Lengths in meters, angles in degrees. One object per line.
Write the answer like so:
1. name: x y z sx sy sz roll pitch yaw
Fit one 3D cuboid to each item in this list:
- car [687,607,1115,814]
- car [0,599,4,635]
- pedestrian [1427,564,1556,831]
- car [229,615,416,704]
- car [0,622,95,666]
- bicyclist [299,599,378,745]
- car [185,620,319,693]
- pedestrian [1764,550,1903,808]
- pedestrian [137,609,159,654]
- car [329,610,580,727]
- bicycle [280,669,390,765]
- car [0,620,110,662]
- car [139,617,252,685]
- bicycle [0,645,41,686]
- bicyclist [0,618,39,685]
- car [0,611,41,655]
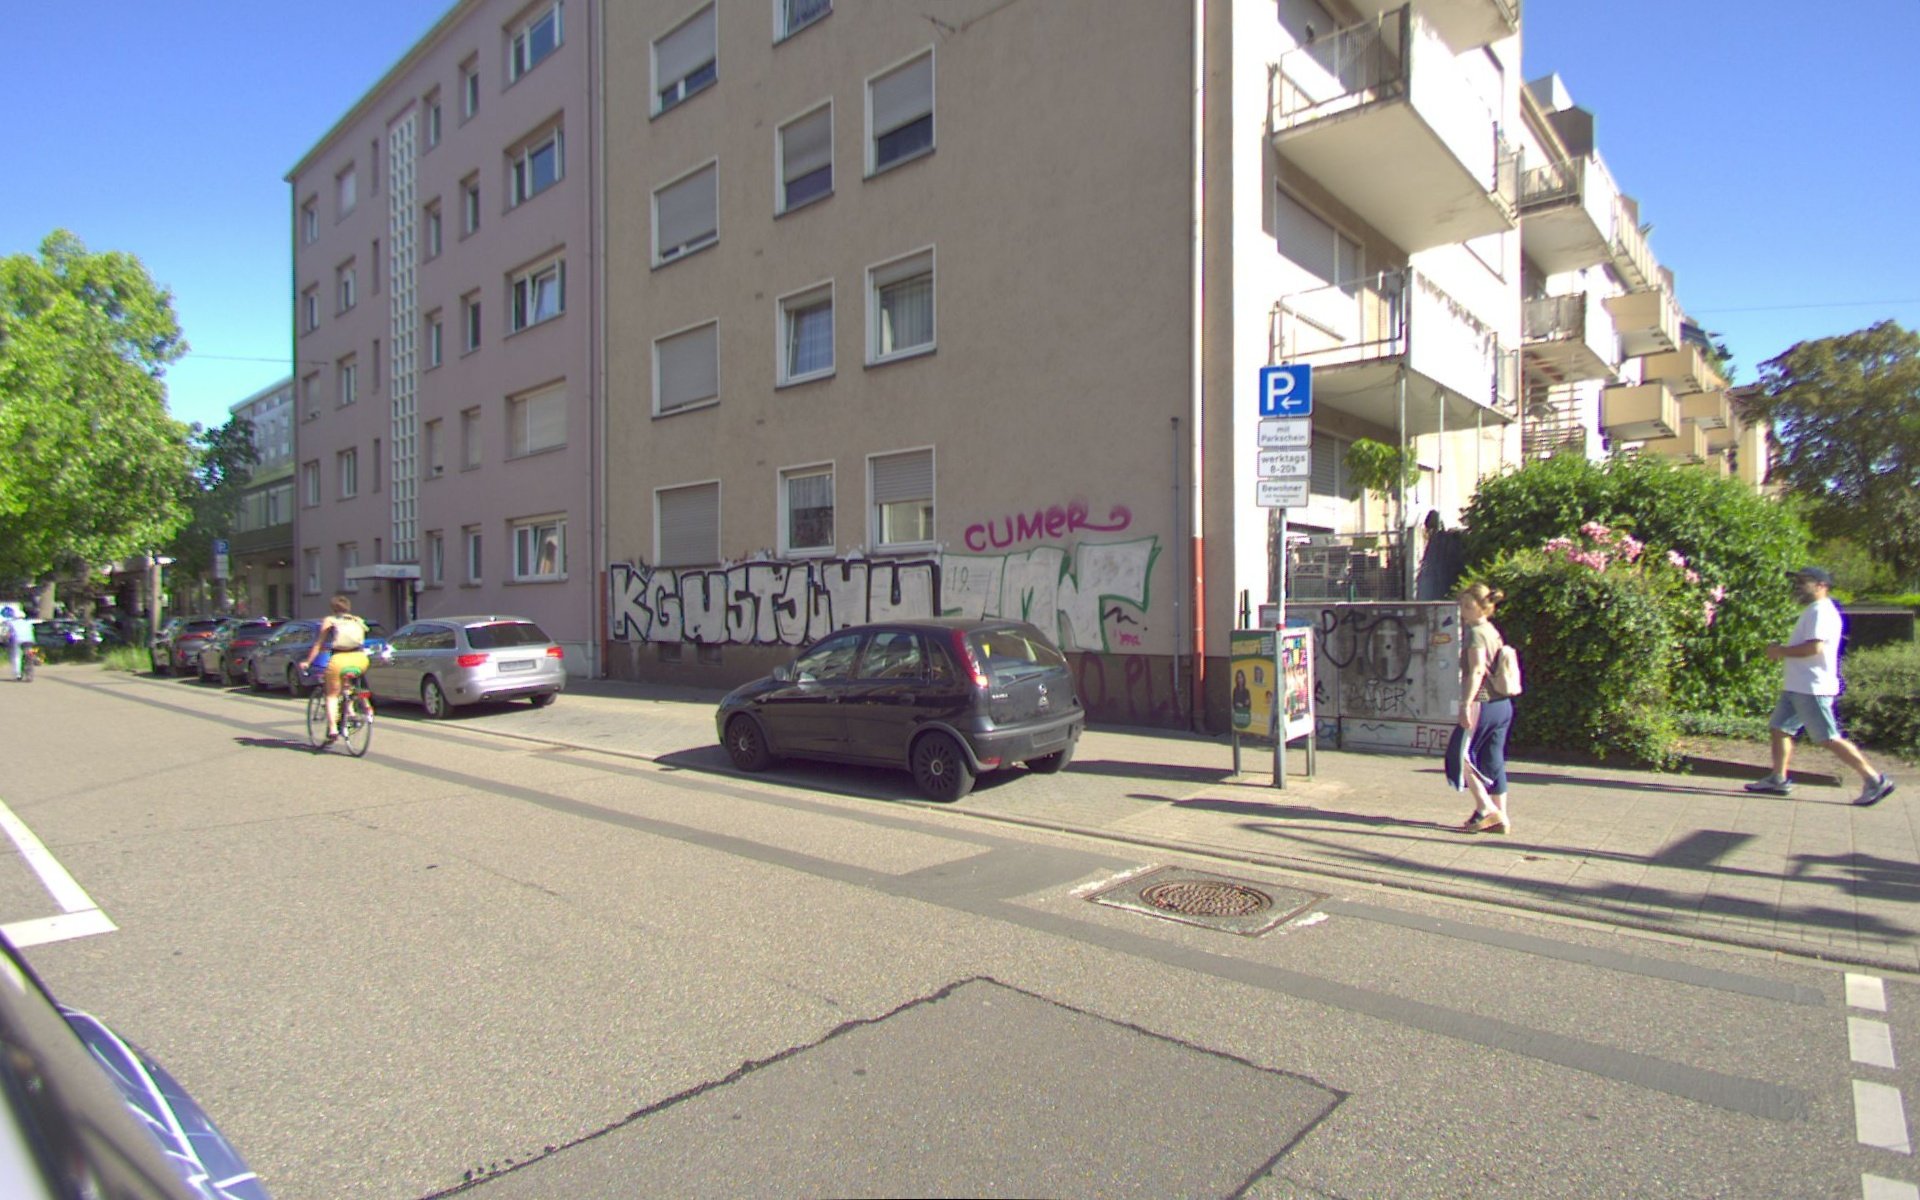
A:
1. car: -0.673 0.863 9.396 3.854 1.459 1.674 -2 1 40
2. car: -66.779 1.171 66.497 1.974 2.411 5.496 -1 -1 35
3. pedestrian: 3.379 0.586 6.437 0.525 1.593 0.563 0 -1 -44
4. car: -12.959 1.131 20.455 4.798 1.514 1.805 -2 1 40
5. car: -35.552 1.670 38.454 1.913 1.564 3.943 -2 -1 43
6. bicyclist: -6.805 0.758 11.076 0.774 1.532 0.537 -2 -1 42
7. car: -16.633 1.256 23.702 4.157 1.478 1.704 -1 1 43
8. pedestrian: 6.101 0.527 7.105 0.668 1.701 0.567 -1 -1 37
9. pedestrian: -32.979 1.284 41.088 0.502 1.820 0.615 -2 -1 42
10. car: -8.169 0.996 16.147 4.798 1.514 1.805 -2 1 40
11. bicycle: -6.927 1.251 11.186 1.825 0.909 0.537 -2 -1 42
12. car: -37.406 1.653 41.341 1.913 1.564 3.943 -2 -1 43
13. car: -20.615 1.315 27.227 4.157 1.588 1.704 -1 1 43
14. bicycle: -23.530 1.619 25.234 1.933 0.959 0.672 -2 -4 42
15. bicyclist: -23.497 1.269 25.221 0.898 1.643 0.672 -2 -3 42
16. car: -46.119 1.594 47.840 1.913 2.058 3.824 -2 -1 43
